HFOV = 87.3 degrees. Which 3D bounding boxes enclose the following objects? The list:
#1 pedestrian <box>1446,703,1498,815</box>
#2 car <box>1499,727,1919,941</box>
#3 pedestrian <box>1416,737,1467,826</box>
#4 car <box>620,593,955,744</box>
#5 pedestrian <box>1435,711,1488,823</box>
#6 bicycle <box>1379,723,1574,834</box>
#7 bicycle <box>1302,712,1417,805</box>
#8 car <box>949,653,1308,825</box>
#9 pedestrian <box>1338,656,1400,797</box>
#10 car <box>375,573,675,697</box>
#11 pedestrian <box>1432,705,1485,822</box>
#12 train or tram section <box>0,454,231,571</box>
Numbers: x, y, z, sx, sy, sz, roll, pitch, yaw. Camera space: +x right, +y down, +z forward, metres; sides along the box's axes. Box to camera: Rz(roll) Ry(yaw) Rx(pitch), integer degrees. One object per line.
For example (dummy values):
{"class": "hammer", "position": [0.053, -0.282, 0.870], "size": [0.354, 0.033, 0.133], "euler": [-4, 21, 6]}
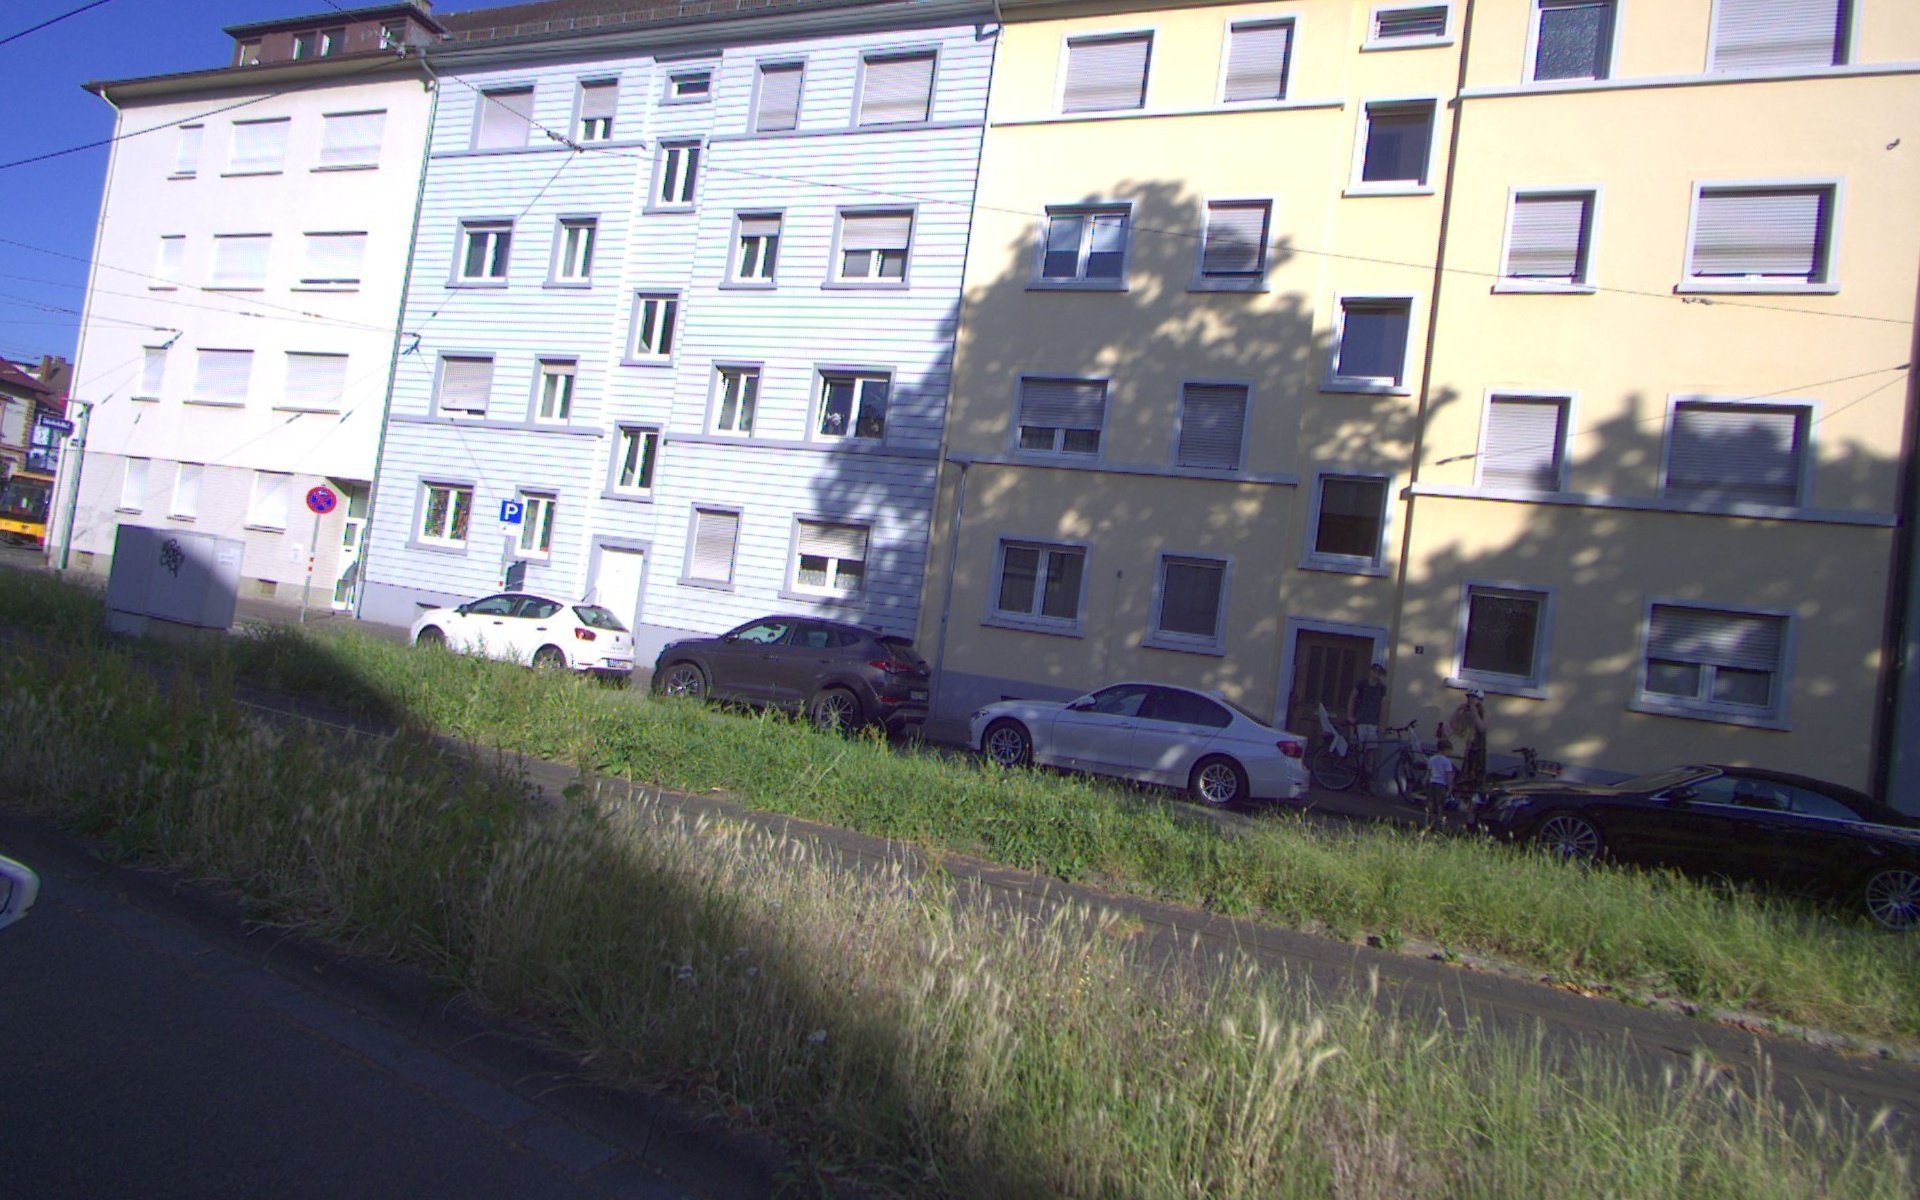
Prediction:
{"class": "pedestrian", "position": [7.427, 2.296, 14.609], "size": [0.435, 1.533, 0.305], "euler": [7, 0, 13]}
{"class": "car", "position": [8.526, 2.483, 10.879], "size": [4.363, 1.403, 2.001], "euler": [8, -1, 20]}
{"class": "pedestrian", "position": [6.414, 2.413, 13.414], "size": [0.452, 1.077, 0.433], "euler": [7, -1, 21]}
{"class": "car", "position": [-2.625, 1.001, 15.491], "size": [4.555, 1.590, 2.001], "euler": [7, -1, 20]}
{"class": "pedestrian", "position": [6.996, 2.314, 14.056], "size": [0.452, 1.457, 0.525], "euler": [7, -1, 21]}
{"class": "bicycle", "position": [7.145, 2.456, 14.043], "size": [2.265, 1.144, 0.536], "euler": [6, -1, 20]}
{"class": "bicycle", "position": [6.039, 2.383, 15.267], "size": [1.487, 1.144, 0.536], "euler": [6, -1, 20]}
{"class": "car", "position": [2.309, 1.748, 13.558], "size": [4.363, 1.403, 2.001], "euler": [8, -1, 20]}
{"class": "pedestrian", "position": [6.260, 1.925, 15.432], "size": [0.637, 2.037, 0.614], "euler": [7, -1, 20]}
{"class": "car", "position": [-7.441, 0.597, 17.324], "size": [4.362, 1.403, 2.002], "euler": [8, -1, 17]}
{"class": "pedestrian", "position": [6.914, 2.254, 13.970], "size": [0.435, 1.533, 0.333], "euler": [7, 0, 16]}
{"class": "train or tram section", "position": [-36.894, -3.593, 43.809], "size": [2.733, 3.595, 9.926], "euler": [8, -2, 0]}
